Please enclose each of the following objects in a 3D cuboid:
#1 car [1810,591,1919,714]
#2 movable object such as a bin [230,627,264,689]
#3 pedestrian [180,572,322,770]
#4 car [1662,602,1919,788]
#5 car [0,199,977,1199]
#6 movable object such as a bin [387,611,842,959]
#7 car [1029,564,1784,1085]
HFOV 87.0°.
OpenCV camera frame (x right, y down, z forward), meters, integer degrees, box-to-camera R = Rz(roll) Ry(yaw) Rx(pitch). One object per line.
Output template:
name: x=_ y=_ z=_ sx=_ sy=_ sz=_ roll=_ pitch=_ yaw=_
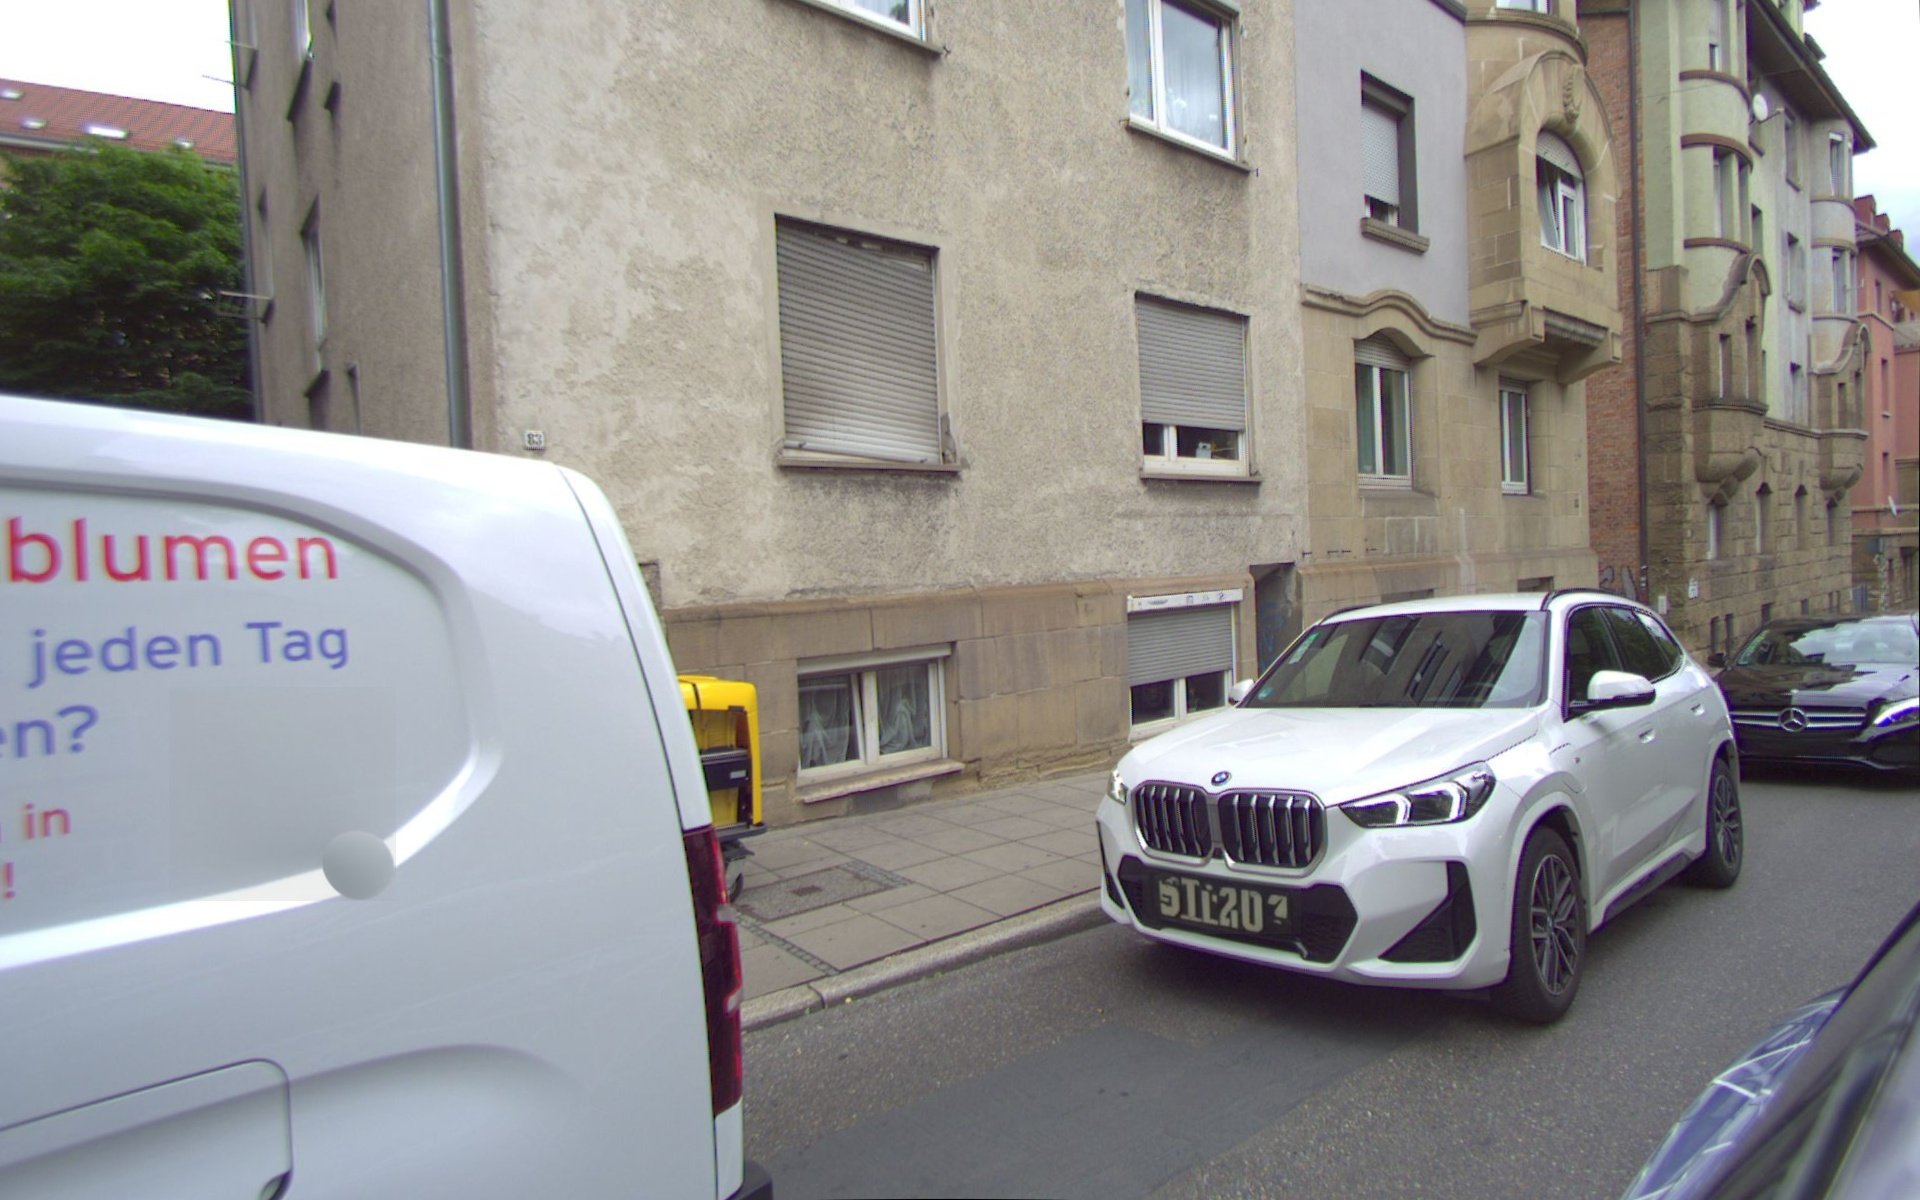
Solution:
car: x=13.559 y=0.638 z=14.012 sx=4.226 sy=1.534 sz=1.935 roll=-1 pitch=-3 yaw=-40
movable object such as a bin: x=-10.979 y=0.883 z=15.589 sx=0.405 sy=0.923 sz=0.340 roll=0 pitch=0 yaw=-40
pedestrian: x=-6.515 y=0.608 z=9.307 sx=0.808 sy=1.666 sz=0.773 roll=0 pitch=6 yaw=42
car: x=8.453 y=0.758 z=9.629 sx=4.133 sy=1.395 sz=1.882 roll=-1 pitch=-3 yaw=-41
car: x=-2.339 y=0.585 z=0.906 sx=4.597 sy=1.798 sz=1.977 roll=-1 pitch=-3 yaw=-42
movable object such as a bin: x=-1.791 y=0.791 z=5.383 sx=1.979 sy=1.391 sz=1.223 roll=-1 pitch=2 yaw=-43
car: x=2.550 y=0.717 z=5.213 sx=4.276 sy=1.576 sz=1.857 roll=-1 pitch=-4 yaw=-42
